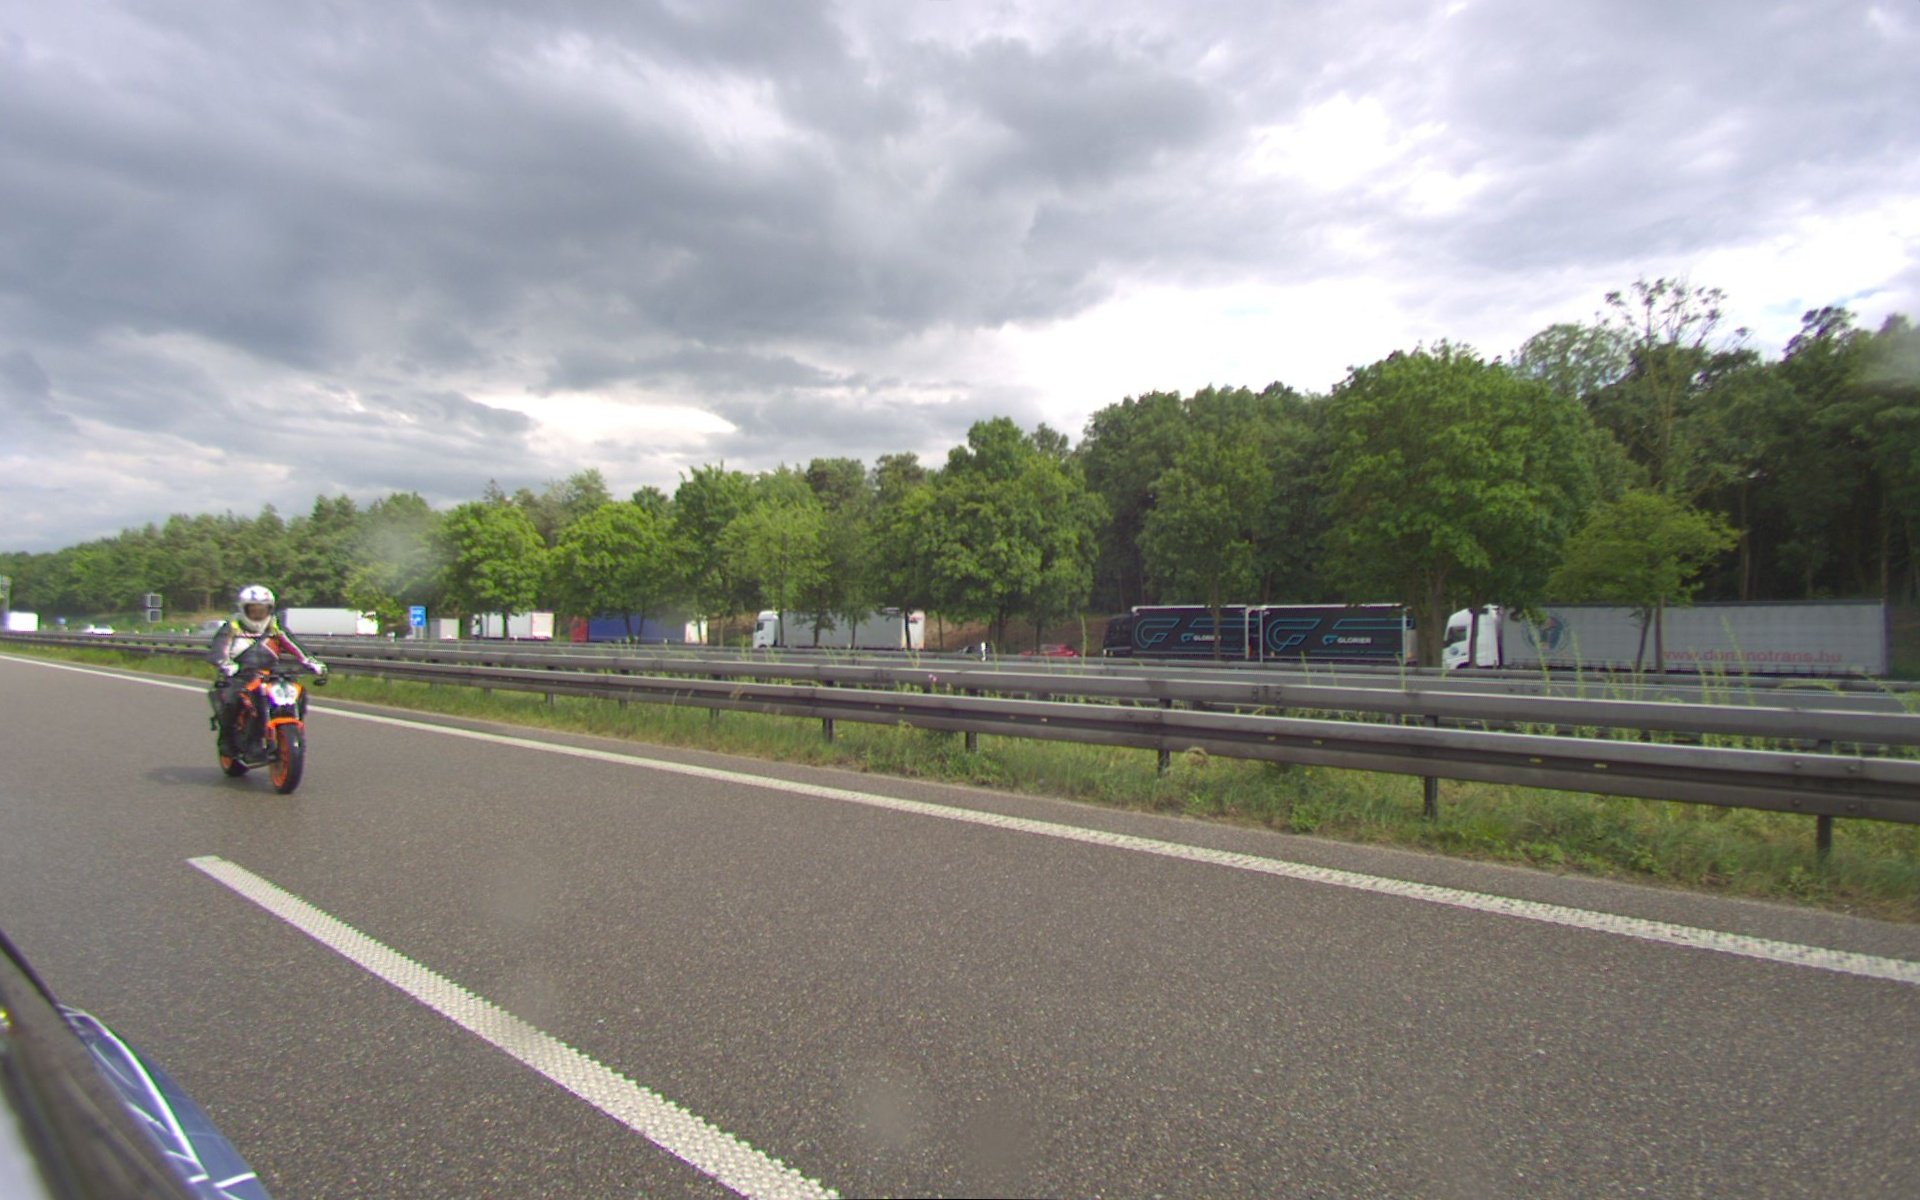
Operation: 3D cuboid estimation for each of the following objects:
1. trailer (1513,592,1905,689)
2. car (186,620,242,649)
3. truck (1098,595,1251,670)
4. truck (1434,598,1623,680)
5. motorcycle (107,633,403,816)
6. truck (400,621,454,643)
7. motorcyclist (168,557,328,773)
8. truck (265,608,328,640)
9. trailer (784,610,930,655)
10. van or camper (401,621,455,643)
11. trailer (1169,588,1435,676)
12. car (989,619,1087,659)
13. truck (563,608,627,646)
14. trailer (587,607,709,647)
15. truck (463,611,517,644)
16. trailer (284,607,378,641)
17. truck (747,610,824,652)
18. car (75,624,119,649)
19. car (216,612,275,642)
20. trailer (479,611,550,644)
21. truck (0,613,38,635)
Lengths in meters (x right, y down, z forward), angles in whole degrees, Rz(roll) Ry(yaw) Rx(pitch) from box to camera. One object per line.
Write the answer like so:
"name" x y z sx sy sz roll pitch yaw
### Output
"trailer" 32.061 1.692 44.271 13.340 3.677 3.749 -1 -2 42
"car" -52.709 2.405 71.505 5.255 1.905 2.026 -1 0 40
"truck" 12.992 1.886 61.871 8.413 4.266 3.748 -1 0 41
"truck" 27.208 1.759 48.591 7.351 3.616 3.748 -1 0 41
"motorcycle" -6.126 0.938 8.693 3.189 1.235 1.174 -1 0 37
"truck" -58.152 3.435 110.408 6.287 2.282 2.105 -1 -1 27
"motorcyclist" -6.107 0.518 8.687 0.999 1.719 0.872 -1 0 38
"truck" -79.018 2.837 120.504 6.880 3.732 3.189 -1 0 26
"trailer" -8.144 2.450 78.120 12.458 3.241 3.315 -1 -2 38
"van or camper" -58.037 3.434 110.394 6.292 2.282 2.105 -1 -1 27
"trailer" 18.790 1.757 56.820 13.795 4.439 3.749 -1 -2 42
"car" 5.206 2.537 68.029 6.207 2.501 2.764 -1 0 41
"truck" -34.829 2.532 96.523 5.880 3.482 2.838 -1 0 33
"trailer" -28.628 2.427 92.379 13.388 3.431 2.800 -1 -2 34
"truck" -48.642 2.834 104.766 5.066 3.292 2.636 -1 0 30
"trailer" -73.144 2.797 117.597 12.504 3.767 3.185 -1 -2 27
"truck" -14.307 2.504 82.980 5.497 3.298 3.322 -1 0 37
"car" -73.024 3.060 85.578 5.255 1.905 2.026 -1 0 40
"car" -47.819 1.790 67.696 5.255 1.905 2.026 -1 0 40
"trailer" -45.337 2.790 102.898 7.712 3.257 2.561 -1 -2 31
"truck" -120.180 2.986 129.216 7.188 2.702 2.813 -1 0 41
